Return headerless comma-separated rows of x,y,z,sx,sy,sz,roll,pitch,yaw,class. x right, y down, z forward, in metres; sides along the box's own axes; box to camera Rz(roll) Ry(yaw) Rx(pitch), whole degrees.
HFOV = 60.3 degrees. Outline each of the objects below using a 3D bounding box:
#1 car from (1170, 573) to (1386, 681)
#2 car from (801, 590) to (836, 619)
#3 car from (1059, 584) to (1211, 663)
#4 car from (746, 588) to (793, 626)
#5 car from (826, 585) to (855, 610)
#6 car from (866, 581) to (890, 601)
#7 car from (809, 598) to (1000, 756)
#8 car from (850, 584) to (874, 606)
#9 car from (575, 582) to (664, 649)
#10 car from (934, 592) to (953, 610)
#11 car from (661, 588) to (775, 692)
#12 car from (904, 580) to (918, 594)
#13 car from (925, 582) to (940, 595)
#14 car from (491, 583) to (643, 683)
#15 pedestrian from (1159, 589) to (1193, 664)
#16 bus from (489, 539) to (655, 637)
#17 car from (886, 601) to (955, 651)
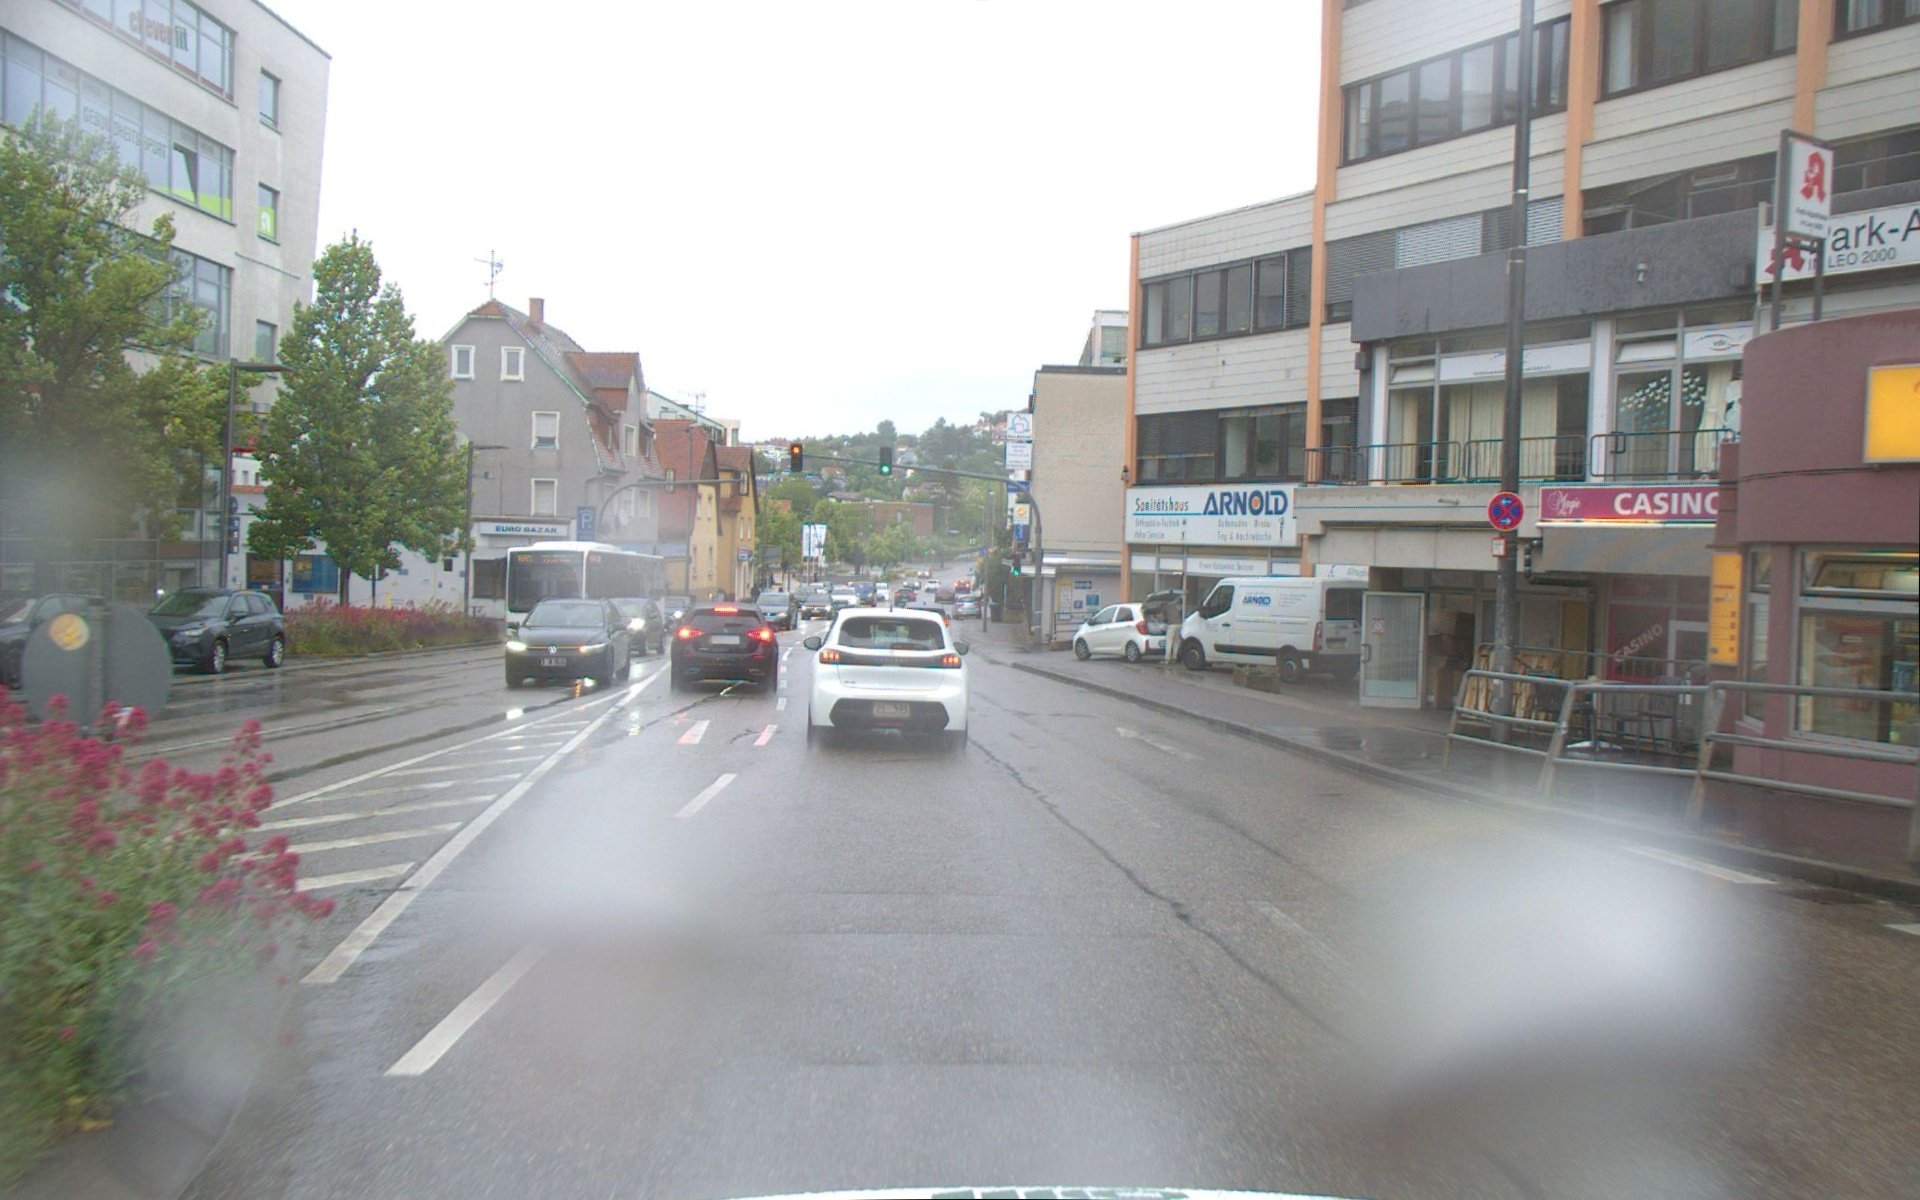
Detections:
7.272,0.554,38.282,1.977,2.265,4.914,0,2,-35,car
-8.130,0.226,95.362,1.710,1.582,3.999,0,1,-1,car
4.547,0.564,43.495,1.866,1.911,4.091,0,1,-32,car
-8.412,0.281,73.228,1.710,1.582,3.999,0,1,-1,car
-8.056,-0.192,111.748,1.710,1.582,3.999,0,1,-1,car
-7.428,-0.816,150.107,1.749,1.713,4.001,2,2,1,car
-0.610,0.775,18.391,1.834,1.487,3.871,3,0,-2,car
-7.612,-0.403,128.292,1.710,1.582,3.999,0,1,-1,car
-8.716,0.357,42.598,1.780,1.582,3.996,0,1,-5,car
-1.547,0.089,151.602,1.710,1.582,3.999,0,1,-1,car
-4.091,0.626,28.406,1.781,1.556,3.807,2,1,-7,car
-6.105,-1.635,205.140,1.710,1.582,3.999,0,1,-1,car
-3.284,-1.384,197.776,1.710,1.582,3.999,0,1,-1,car
-6.845,0.524,29.188,1.855,1.582,3.999,0,1,-2,car
5.468,0.663,41.903,0.634,1.854,0.576,0,1,-33,pedestrian
-12.098,-0.457,52.581,2.878,2.832,9.506,0,1,1,bus
-1.297,0.818,53.039,1.875,1.424,3.453,2,1,-6,car
